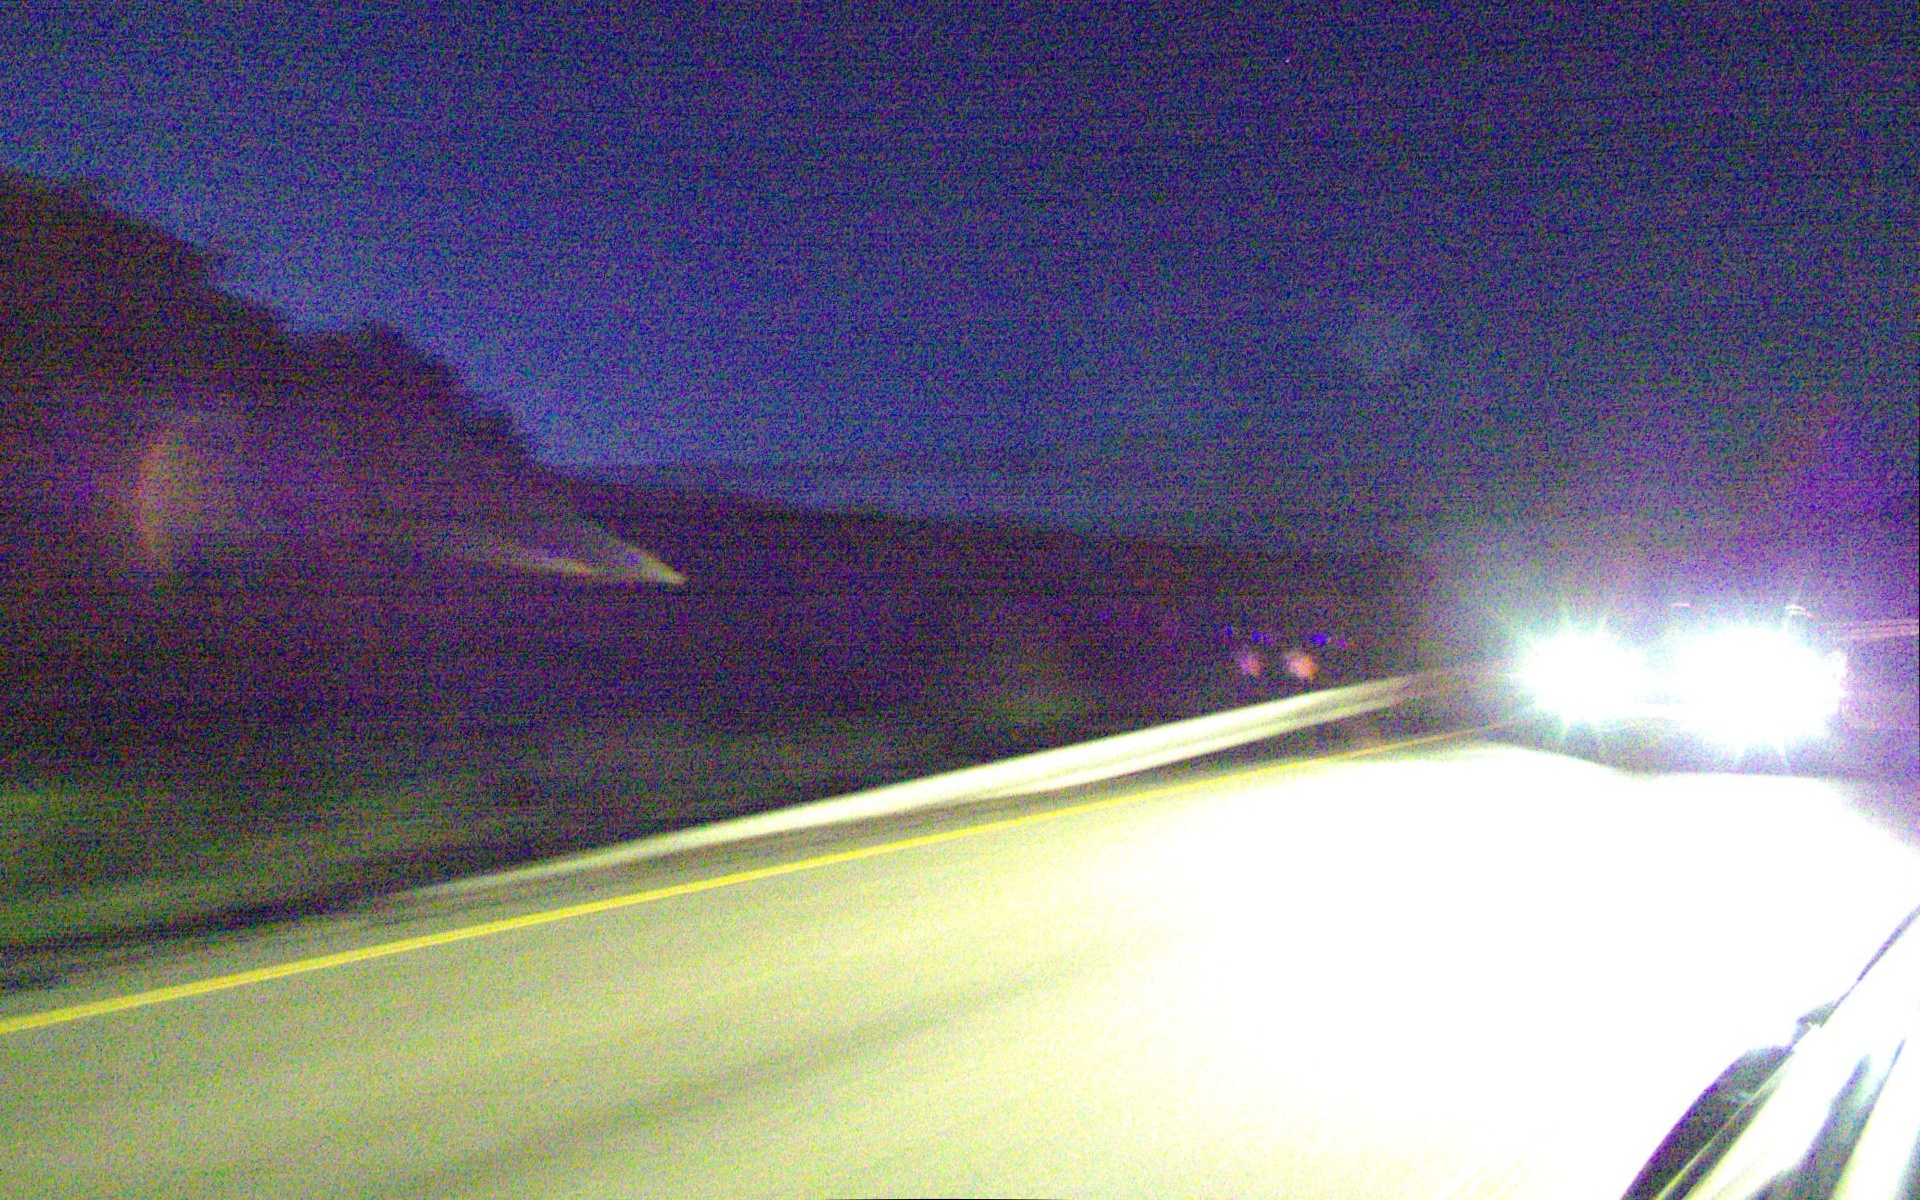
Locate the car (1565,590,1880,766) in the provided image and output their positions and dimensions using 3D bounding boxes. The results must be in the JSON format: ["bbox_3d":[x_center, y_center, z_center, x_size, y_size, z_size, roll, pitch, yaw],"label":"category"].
[{"bbox_3d":[8.368,0.647,10.919,4.791,1.444,1.811,-1,2,-42],"label":"car"}]
